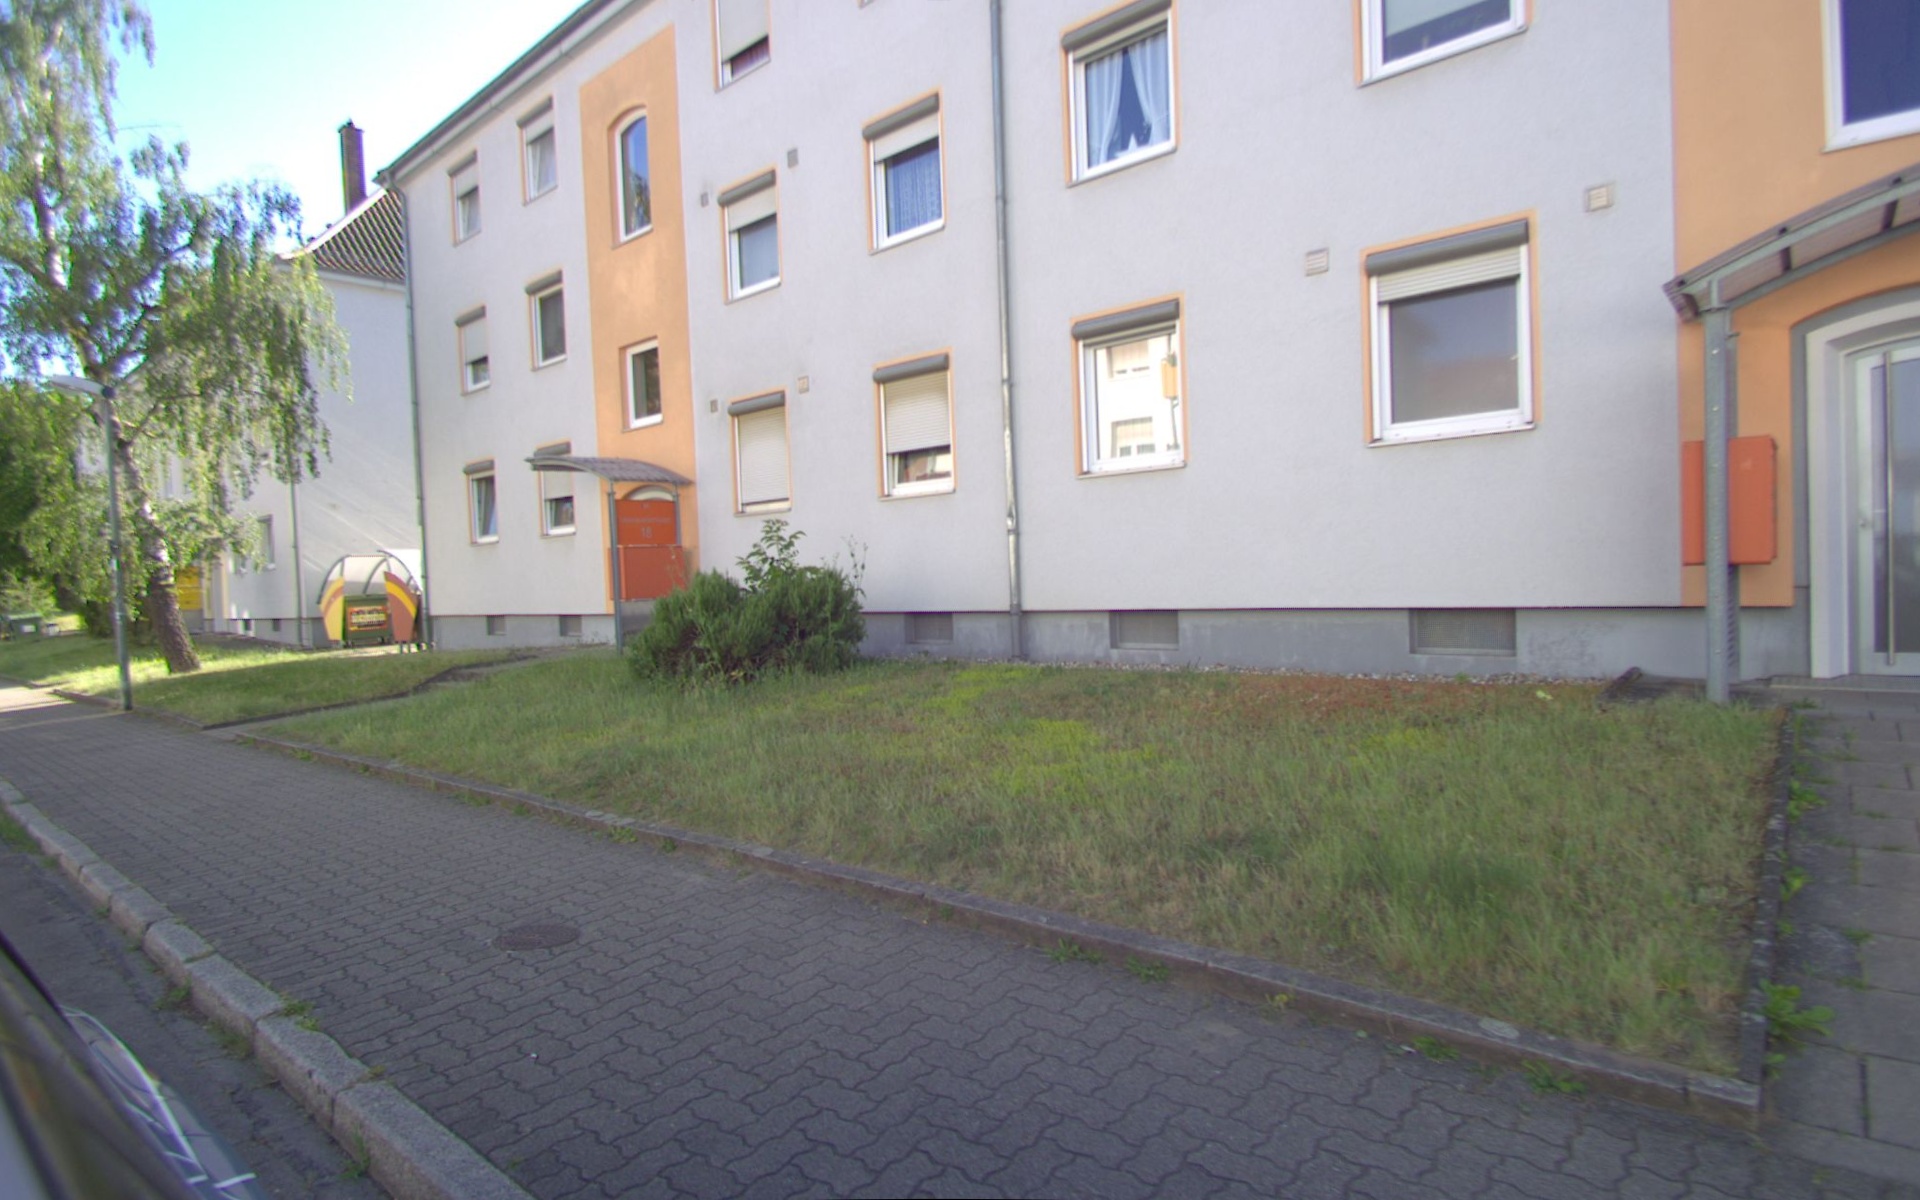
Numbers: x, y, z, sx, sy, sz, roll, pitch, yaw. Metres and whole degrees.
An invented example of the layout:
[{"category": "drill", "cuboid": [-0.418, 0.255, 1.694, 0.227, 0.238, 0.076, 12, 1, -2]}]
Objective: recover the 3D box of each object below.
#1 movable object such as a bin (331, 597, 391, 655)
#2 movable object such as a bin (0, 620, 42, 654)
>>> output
[{"category": "movable object such as a bin", "cuboid": [-15.285, 0.653, 25.845, 0.812, 1.416, 1.073, -2, 1, 42]}, {"category": "movable object such as a bin", "cuboid": [-45.448, 1.792, 48.930, 1.072, 1.463, 1.347, -2, 5, 41]}]
